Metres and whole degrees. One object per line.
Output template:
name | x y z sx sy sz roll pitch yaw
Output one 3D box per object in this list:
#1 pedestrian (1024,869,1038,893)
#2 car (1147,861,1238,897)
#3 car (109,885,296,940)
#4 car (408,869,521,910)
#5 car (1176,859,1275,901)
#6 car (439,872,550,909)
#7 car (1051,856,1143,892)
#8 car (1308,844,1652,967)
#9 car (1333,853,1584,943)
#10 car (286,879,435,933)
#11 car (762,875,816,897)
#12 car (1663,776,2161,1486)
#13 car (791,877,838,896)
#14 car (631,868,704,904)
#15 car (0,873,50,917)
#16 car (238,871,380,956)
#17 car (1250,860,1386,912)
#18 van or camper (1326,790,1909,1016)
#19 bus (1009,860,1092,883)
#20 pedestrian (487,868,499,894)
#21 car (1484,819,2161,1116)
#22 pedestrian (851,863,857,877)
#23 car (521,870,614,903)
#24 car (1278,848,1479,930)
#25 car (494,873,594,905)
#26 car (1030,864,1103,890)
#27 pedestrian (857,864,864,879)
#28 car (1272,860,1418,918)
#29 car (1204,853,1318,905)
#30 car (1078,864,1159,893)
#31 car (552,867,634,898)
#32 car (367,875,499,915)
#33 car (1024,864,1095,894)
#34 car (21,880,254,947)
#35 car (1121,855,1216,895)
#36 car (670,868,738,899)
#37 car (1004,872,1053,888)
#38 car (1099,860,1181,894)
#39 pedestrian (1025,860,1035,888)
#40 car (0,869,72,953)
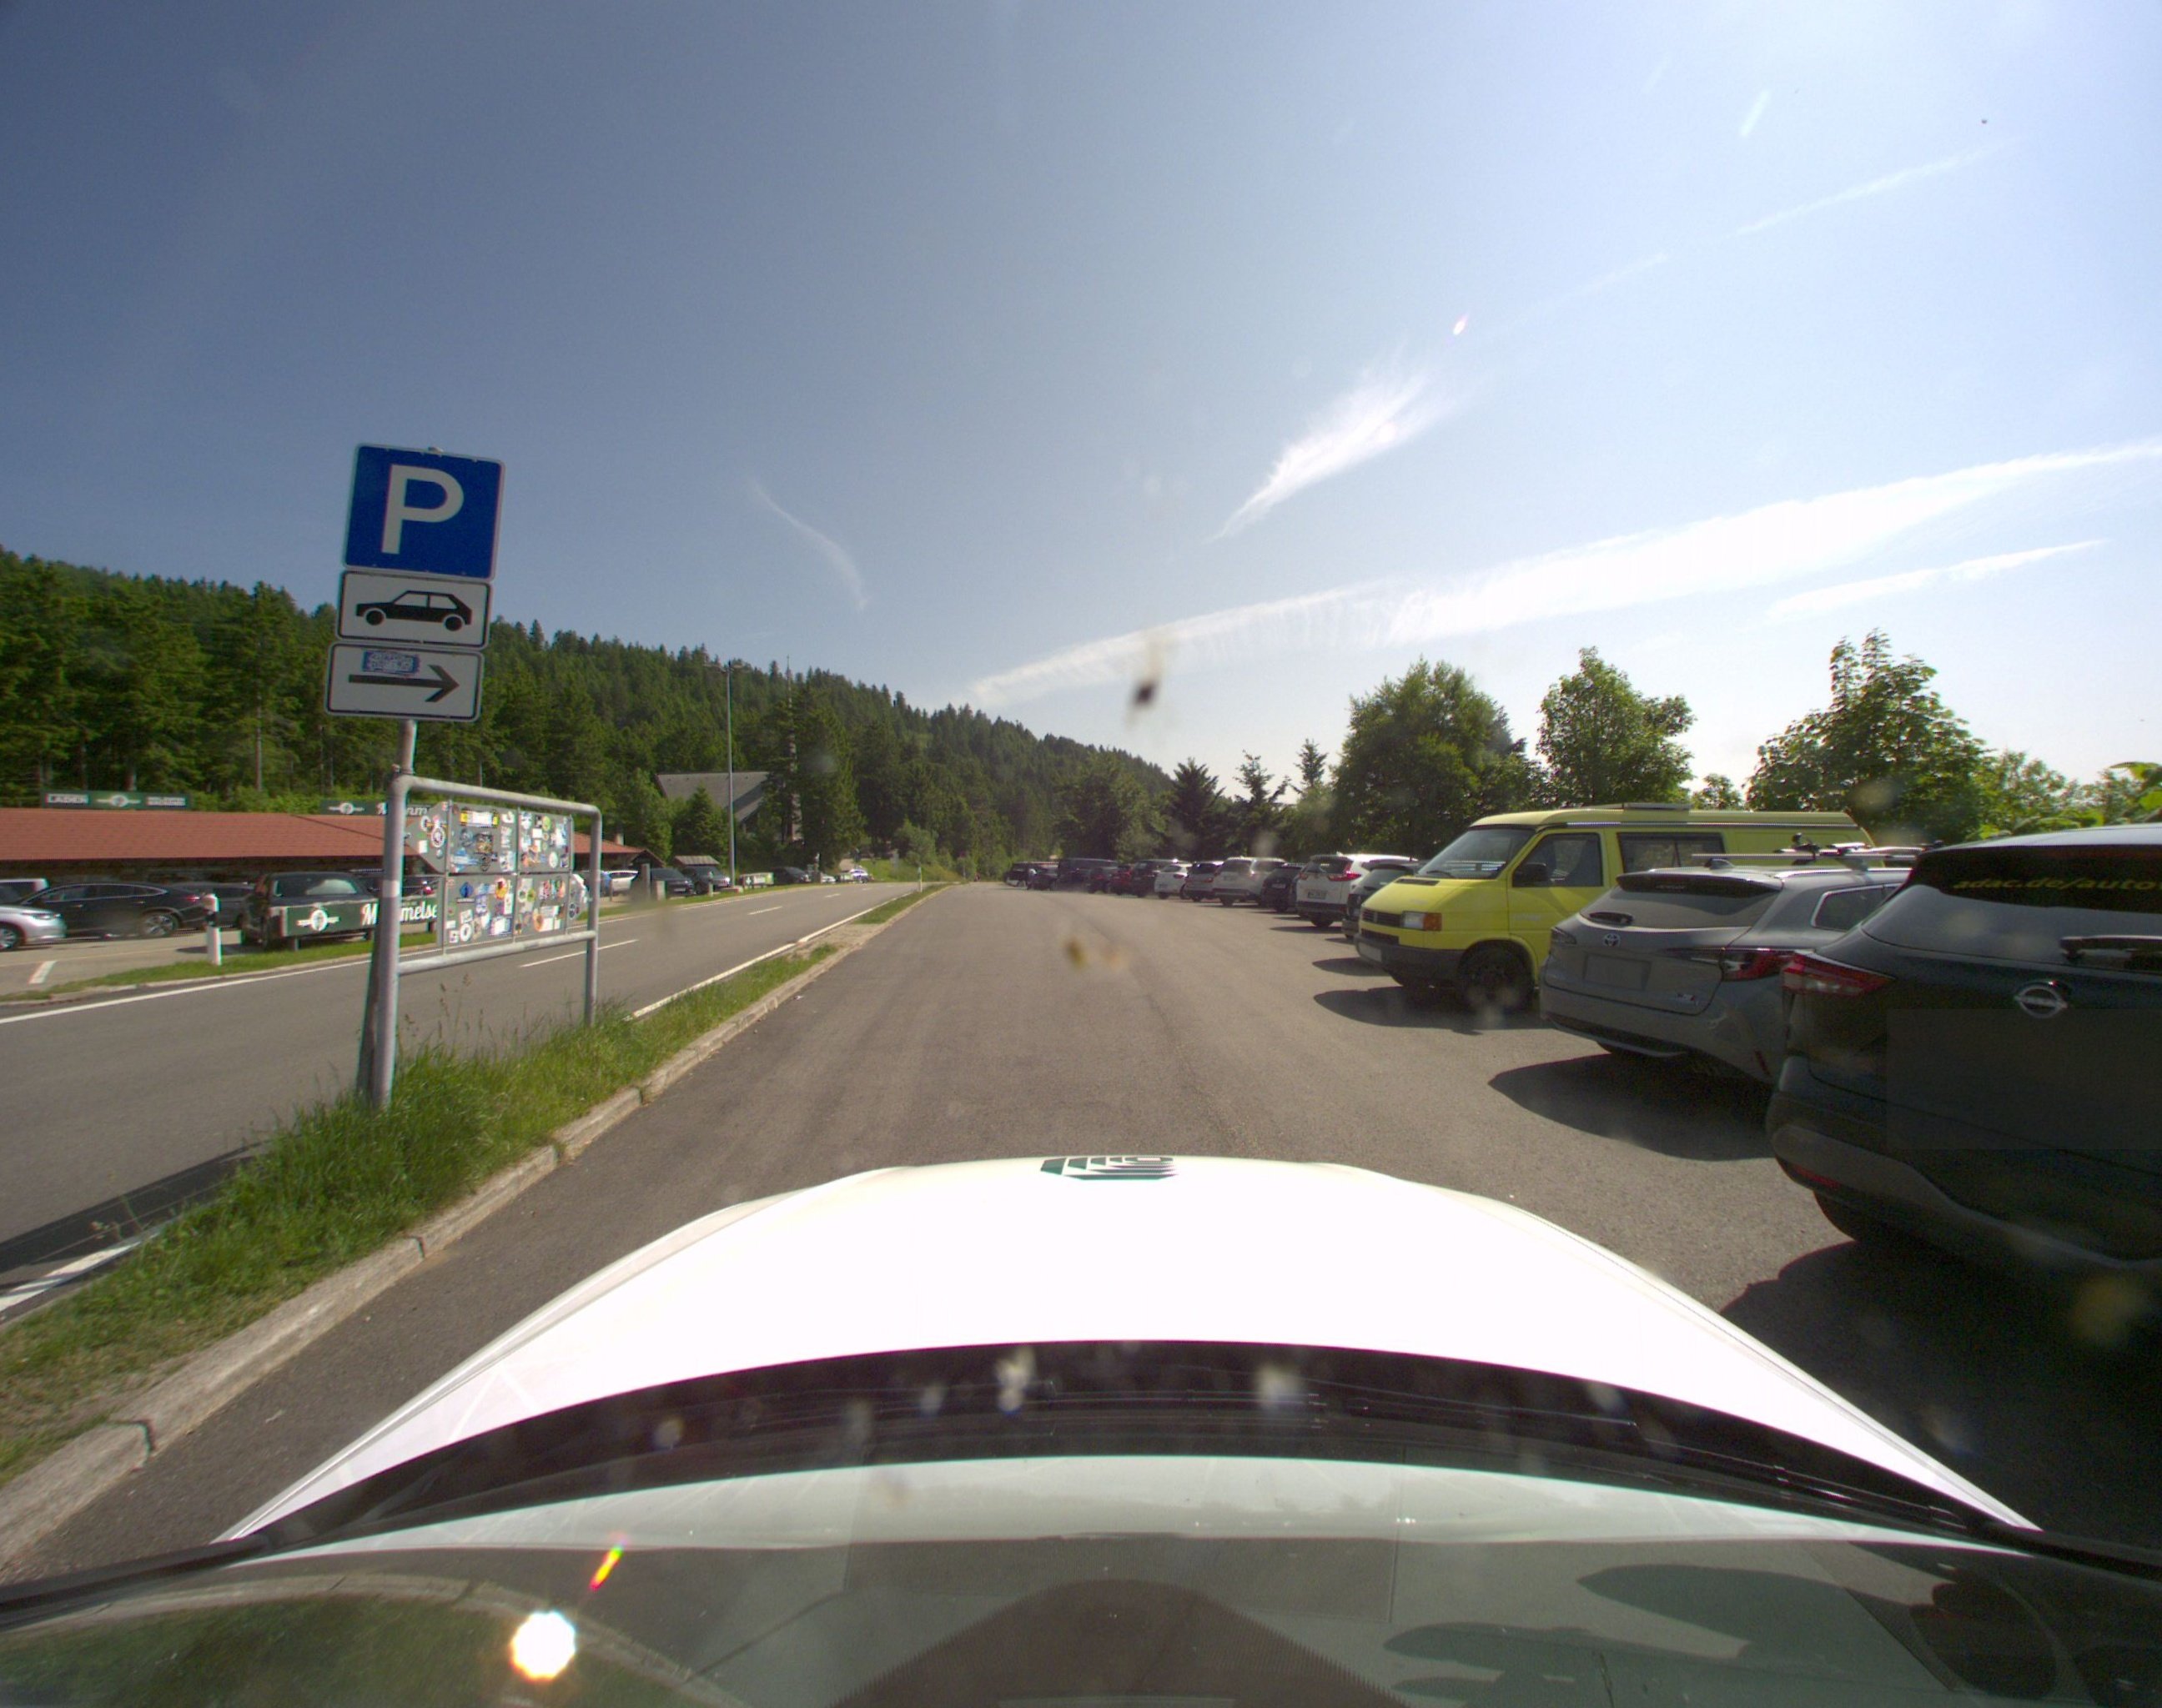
pedestrian | -3.095 1.663 50.230 0.771 1.402 0.669 -2 0 -1
car | 4.824 1.085 35.007 4.022 1.476 1.746 3 -2 -44
car | -26.529 1.709 24.704 1.567 1.321 3.663 -2 1 36
car | -27.985 1.573 37.079 1.713 1.588 3.757 -2 1 38
car | 5.696 1.031 31.909 4.022 1.549 1.798 3 -2 -44
car | -28.679 1.758 39.908 1.875 1.545 4.026 -2 1 39
car | 0.928 1.157 45.934 4.781 1.880 1.950 2 -2 -26
car | 5.803 0.673 12.066 4.351 1.487 1.806 -2 0 -10
car | 7.001 0.773 15.188 4.099 1.500 1.931 1 -1 -20
car | -27.163 1.886 30.799 1.803 1.704 4.024 -2 1 43
car | -22.606 2.506 63.019 4.156 1.634 1.800 -2 -2 33
car | 4.347 0.640 2.587 3.990 1.613 1.909 0 0 -12
car | -22.693 2.760 69.317 3.918 1.441 1.755 -2 0 36
car | -19.107 1.446 37.605 3.950 1.552 1.794 -2 0 44
car | -39.970 1.552 29.008 1.885 1.530 3.906 -2 1 36
car | -16.699 1.195 17.550 4.139 1.540 1.819 -2 1 41
car | 7.294 0.970 24.903 4.068 1.461 1.874 2 -2 -35
van or camper | 5.430 0.491 8.627 5.081 2.013 1.879 2 0 -5
bus | -4.863 2.795 129.209 12.782 3.578 2.990 0 1 9
pedestrian | -42.843 1.988 59.319 0.540 1.874 0.532 -2 -2 36
car | 5.188 0.618 5.724 4.157 1.589 1.696 0 0 -15
pedestrian | -26.508 1.854 94.988 0.653 1.667 0.640 -1 -3 -13
car | -29.142 1.825 46.305 1.974 1.574 4.026 -2 0 38
car | 6.701 0.782 18.289 4.193 1.650 1.875 2 -2 -27
car | -28.545 1.828 43.379 1.883 1.420 4.026 -2 0 38
car | -0.875 1.401 48.908 4.009 1.443 1.823 2 -2 -28
pedestrian | -25.880 2.047 95.597 0.653 1.799 0.640 -1 0 -13
car | 7.244 0.960 22.252 3.817 1.459 1.647 2 -1 -30
car | 6.366 0.850 28.501 4.251 1.695 1.841 2 -1 -44
car | 1.979 1.312 42.944 4.015 1.415 1.726 2 -2 -34
car | -30.823 1.790 51.545 1.753 1.672 4.057 -4 -1 37
car | -27.287 1.684 34.383 1.789 1.371 4.026 -2 1 38
car | -1.358 1.622 52.071 4.015 1.662 1.979 5 -4 -34
car | -25.602 1.545 22.237 1.889 1.430 4.026 -2 1 38
car | 4.032 0.983 37.134 4.297 1.695 1.966 3 -2 -44
car | -20.414 1.559 44.034 4.007 1.567 1.751 -2 -1 39
car | -5.178 2.611 80.586 4.472 1.299 1.570 4 -2 -23
car | 2.984 1.144 40.671 4.022 1.590 1.841 3 -2 -44
pedestrian | -3.281 1.276 52.377 0.577 1.761 0.633 2 -2 1
car | -26.020 1.357 18.010 1.812 1.863 4.559 -2 1 40
